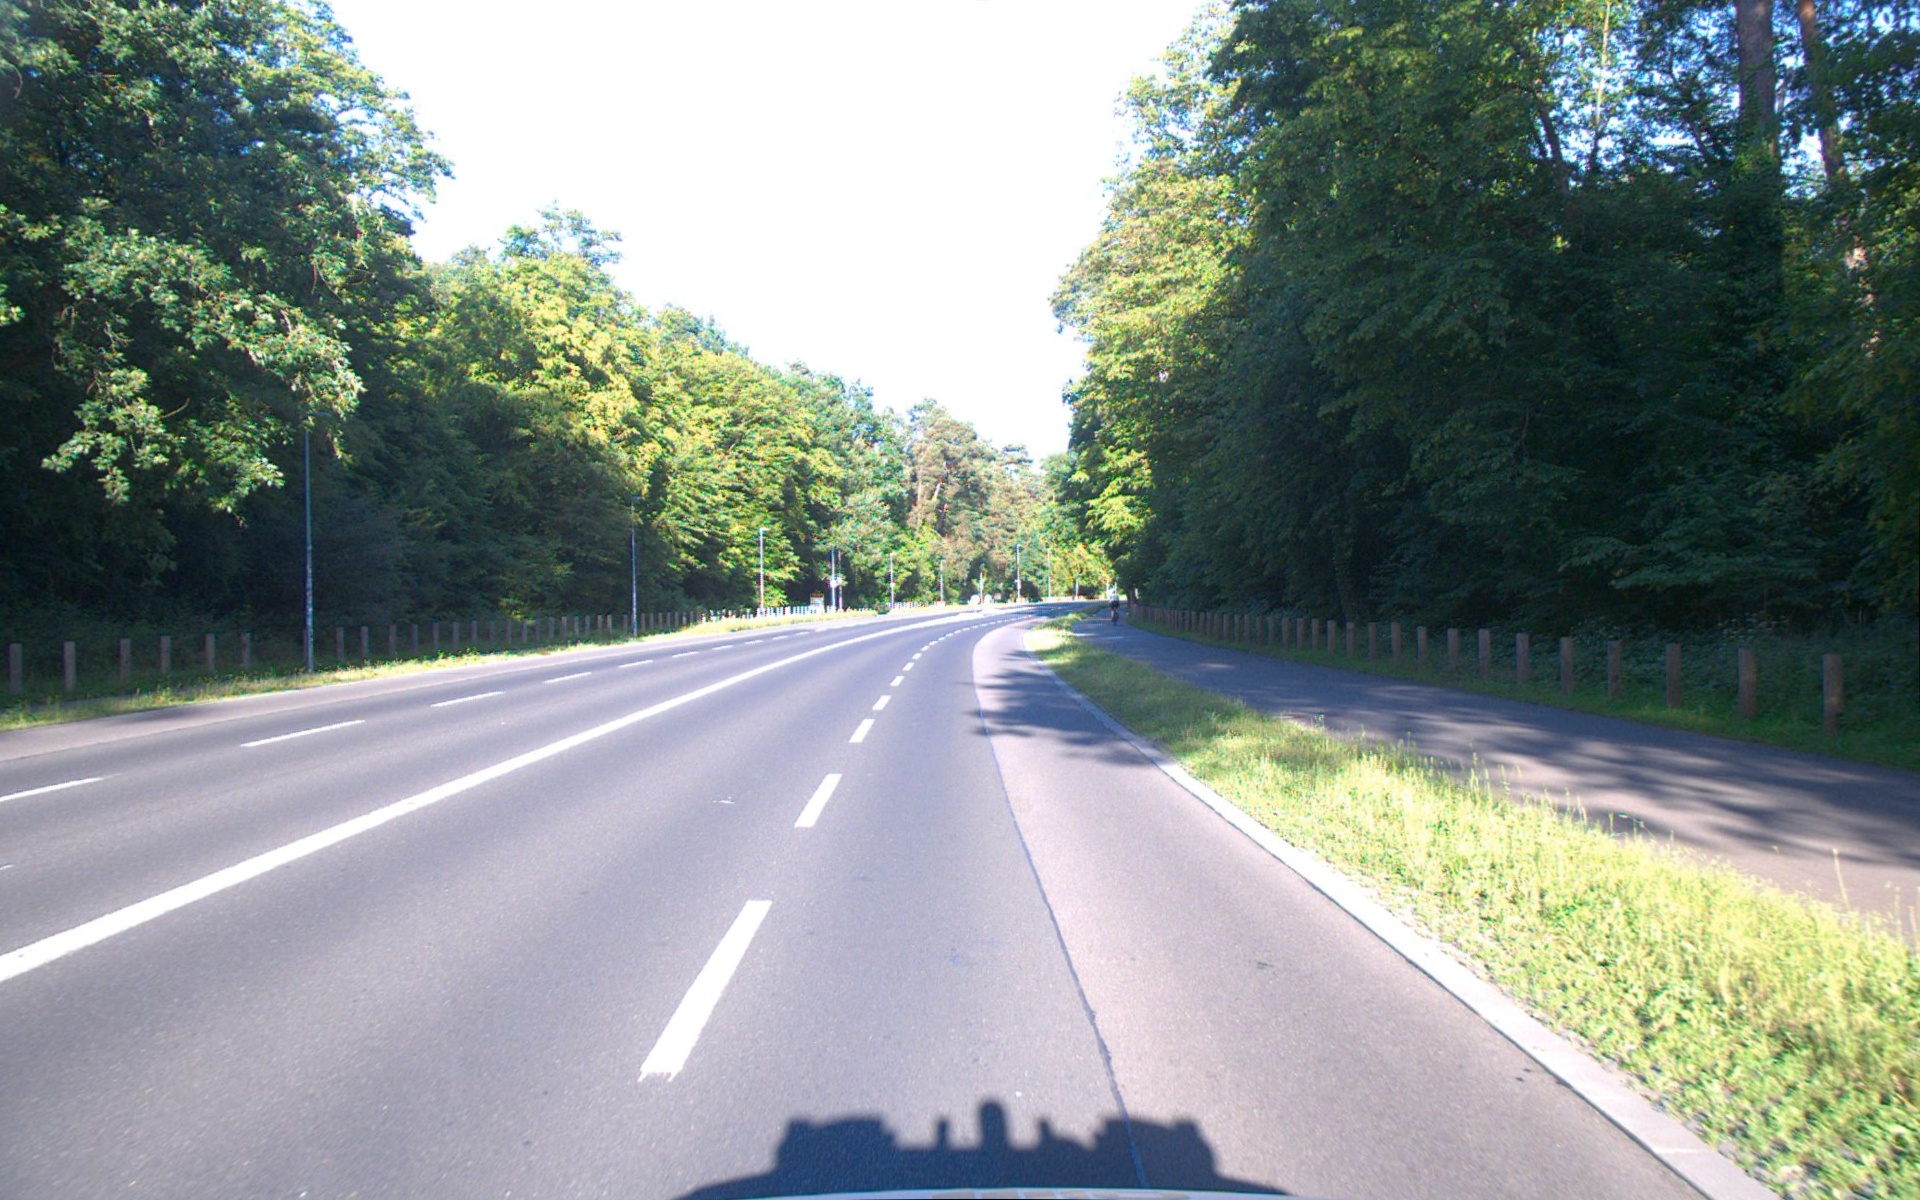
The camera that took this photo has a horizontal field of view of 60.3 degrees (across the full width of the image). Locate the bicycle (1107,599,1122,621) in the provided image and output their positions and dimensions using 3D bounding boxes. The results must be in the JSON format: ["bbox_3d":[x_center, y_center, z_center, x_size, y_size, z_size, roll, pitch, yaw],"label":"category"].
[{"bbox_3d":[7.534,0.473,80.716,0.697,1.074,2.054,-1,0,6],"label":"bicycle"}]

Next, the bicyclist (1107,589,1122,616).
[{"bbox_3d":[7.552,0.115,80.928,0.697,1.311,1.105,-1,0,6],"label":"bicyclist"}]
